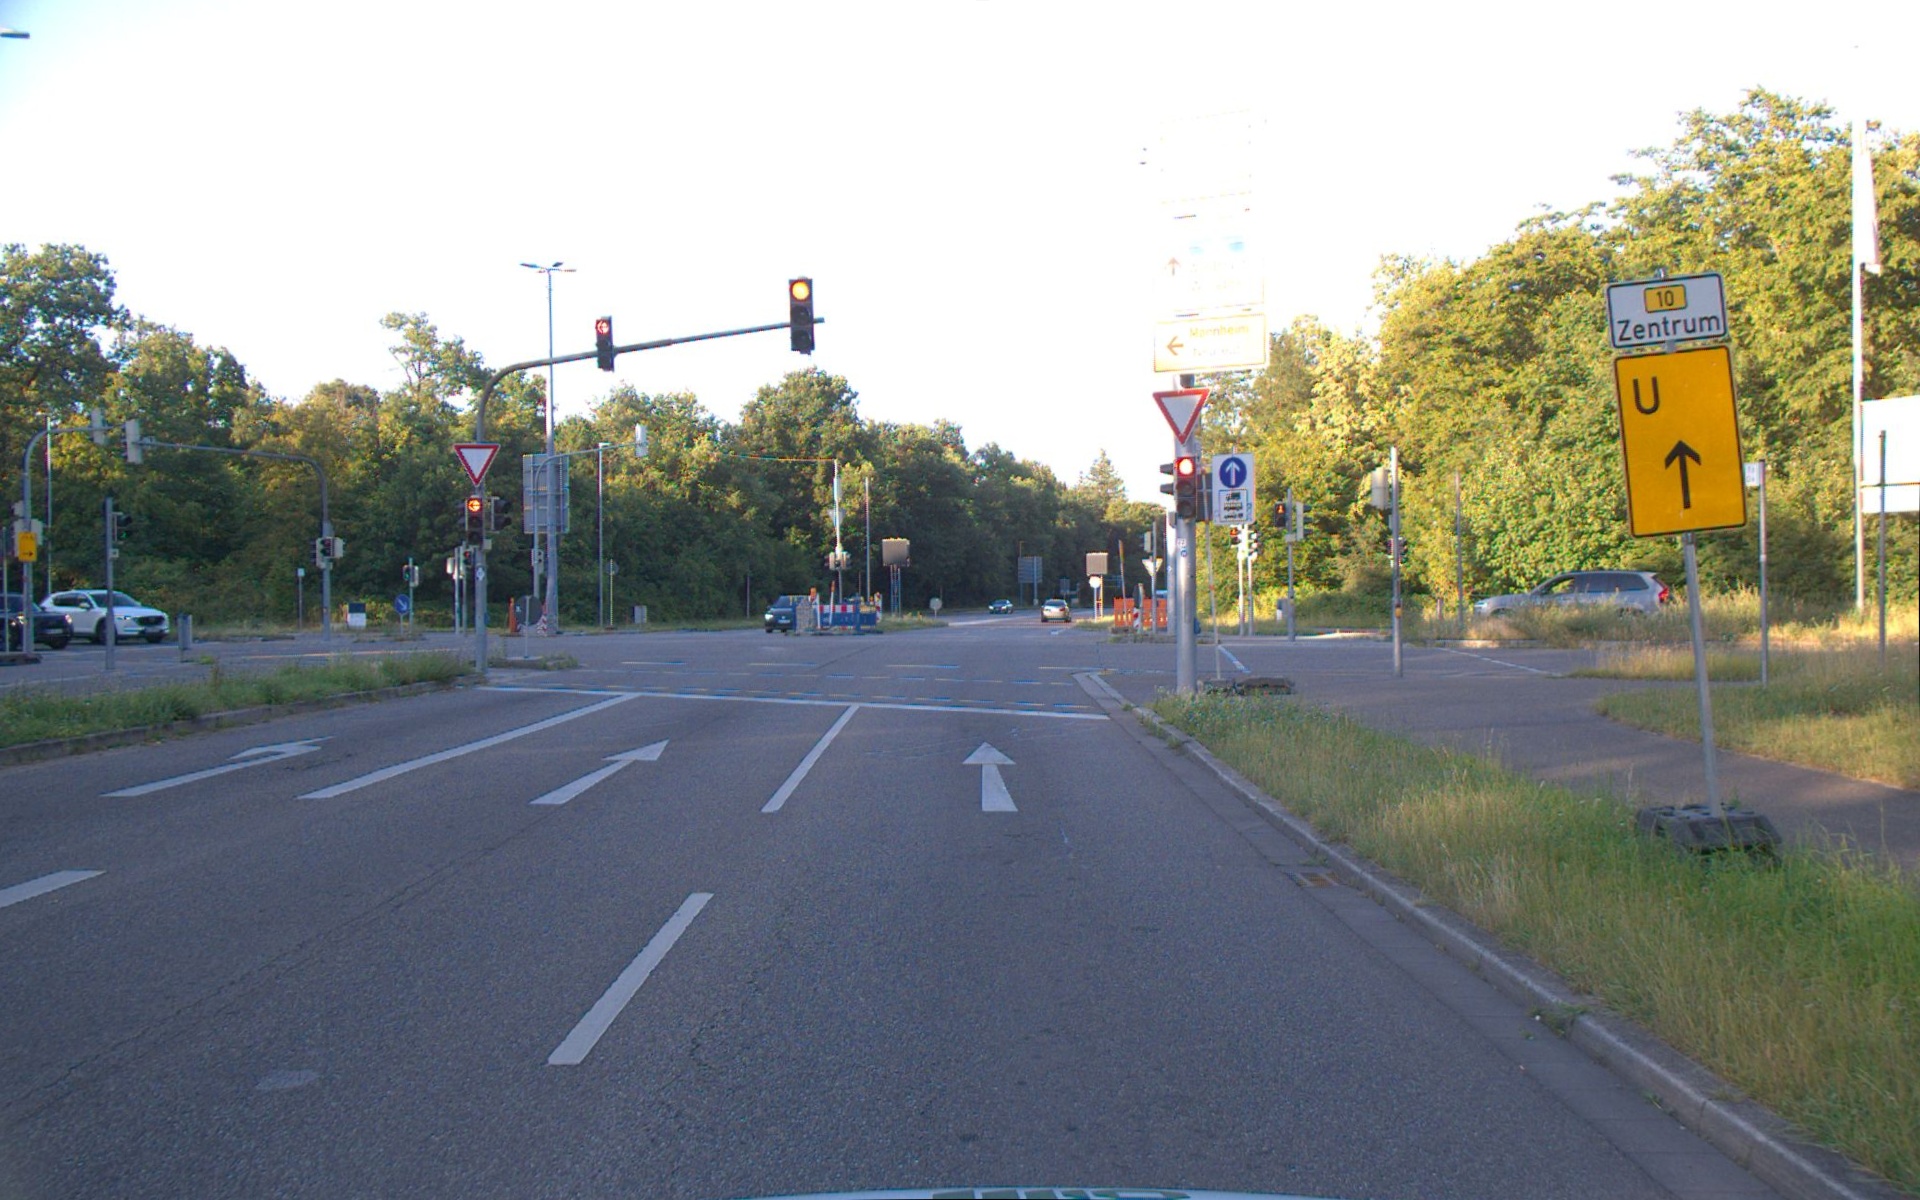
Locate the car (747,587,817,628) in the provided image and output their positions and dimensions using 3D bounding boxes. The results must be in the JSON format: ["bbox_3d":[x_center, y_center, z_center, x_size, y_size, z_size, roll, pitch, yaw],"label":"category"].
[{"bbox_3d":[-7.058,0.256,66.030,1.951,1.556,4.681,-1,0,4],"label":"car"}]

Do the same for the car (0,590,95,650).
[{"bbox_3d":[-27.306,0.559,47.675,4.157,1.668,2.000,0,0,23],"label":"car"}]

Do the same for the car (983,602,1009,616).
[{"bbox_3d":[3.814,0.933,173.514,1.951,1.445,4.003,-1,0,13],"label":"car"}]

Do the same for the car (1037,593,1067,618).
[{"bbox_3d":[6.122,0.350,109.694,1.951,1.646,4.002,-1,0,4],"label":"car"}]

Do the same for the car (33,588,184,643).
[{"bbox_3d":[-26.575,0.472,51.617,4.157,1.668,2.000,0,0,23],"label":"car"}]

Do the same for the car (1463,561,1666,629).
[{"bbox_3d":[15.321,-0.115,41.982,4.717,1.626,2.000,-1,0,23],"label":"car"}]
